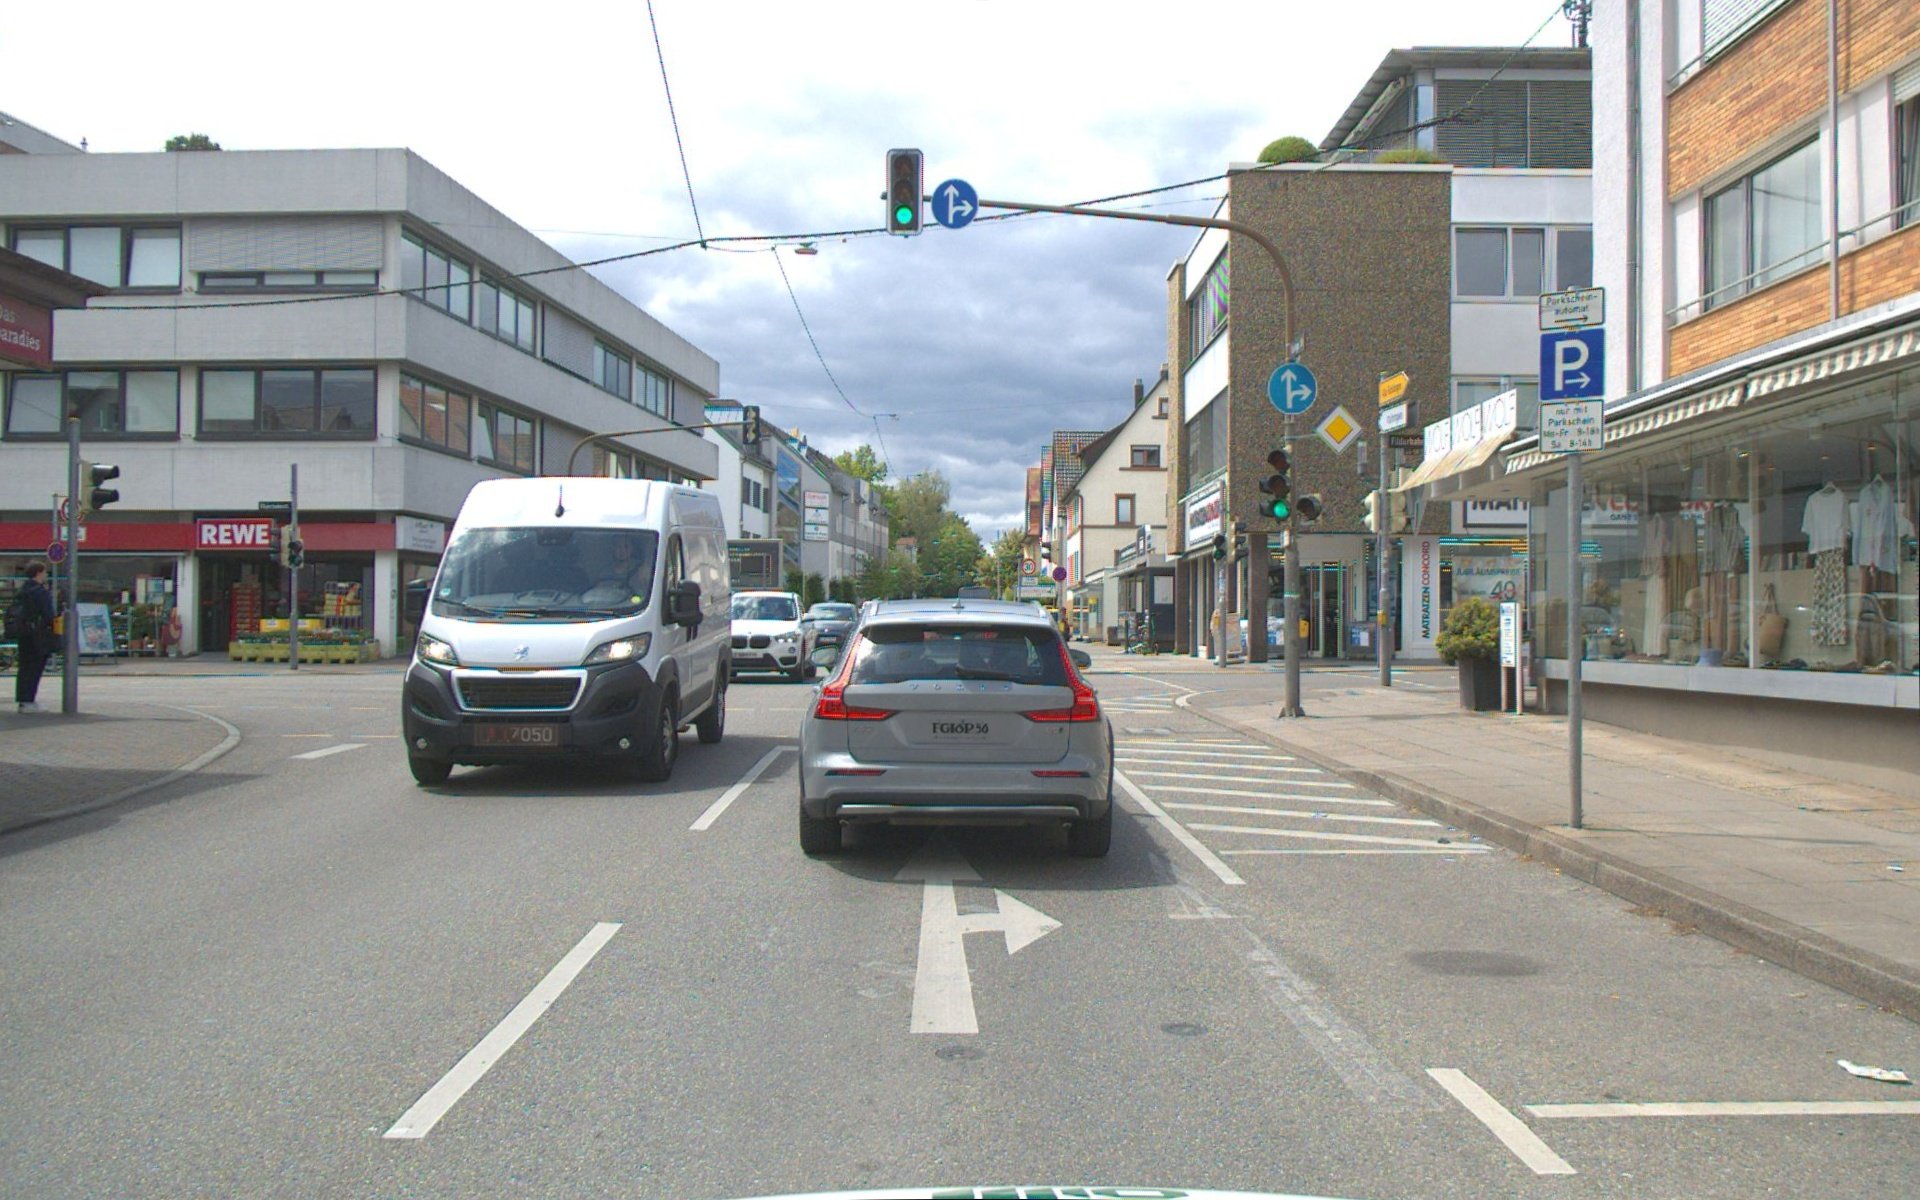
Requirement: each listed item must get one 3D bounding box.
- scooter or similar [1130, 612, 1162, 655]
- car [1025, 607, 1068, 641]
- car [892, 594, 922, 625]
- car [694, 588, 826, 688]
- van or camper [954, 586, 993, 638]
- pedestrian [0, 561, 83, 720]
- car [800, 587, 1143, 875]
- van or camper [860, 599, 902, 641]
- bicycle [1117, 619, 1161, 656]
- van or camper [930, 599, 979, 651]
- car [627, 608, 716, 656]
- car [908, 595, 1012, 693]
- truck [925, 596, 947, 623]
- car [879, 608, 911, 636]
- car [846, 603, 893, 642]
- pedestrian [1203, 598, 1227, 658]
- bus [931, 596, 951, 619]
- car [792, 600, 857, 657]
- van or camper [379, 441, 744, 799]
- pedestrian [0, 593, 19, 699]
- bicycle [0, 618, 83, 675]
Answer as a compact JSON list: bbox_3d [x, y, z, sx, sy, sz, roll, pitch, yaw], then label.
[{"bbox_3d":[5.740,1.040,51.018,0.336,1.275,1.235,-2,-1,-26],"label":"scooter or similar"},{"bbox_3d":[4.086,1.177,78.818,1.676,1.490,3.998,1,-2,-2],"label":"car"},{"bbox_3d":[-3.398,0.646,106.957,1.800,1.951,4.155,1,-1,-1],"label":"car"},{"bbox_3d":[-3.589,0.670,30.424,1.743,1.668,4.221,-1,0,2],"label":"car"},{"bbox_3d":[0.755,0.651,90.642,2.079,2.733,4.781,0,0,1],"label":"van or camper"},{"bbox_3d":[-10.878,0.479,19.539,0.613,1.828,0.720,1,-2,-3],"label":"pedestrian"},{"bbox_3d":[0.041,0.688,10.718,1.798,1.512,3.999,0,0,-1],"label":"car"},{"bbox_3d":[-3.810,0.948,80.060,1.826,1.931,4.692,0,0,0],"label":"van or camper"},{"bbox_3d":[5.813,1.212,53.868,0.546,1.164,2.288,0,-1,-18],"label":"bicycle"},{"bbox_3d":[-0.222,0.979,63.213,1.782,1.867,3.998,0,-3,-1],"label":"van or camper"},{"bbox_3d":[-9.579,1.045,55.257,1.864,1.469,4.445,1,0,4],"label":"car"},{"bbox_3d":[-0.012,0.725,27.866,1.617,1.508,3.606,1,-1,-1],"label":"car"},{"bbox_3d":[-2.692,1.081,185.649,2.229,2.937,7.079,0,0,1],"label":"truck"},{"bbox_3d":[-3.689,1.239,94.662,1.634,1.581,4.215,0,-1,1],"label":"car"},{"bbox_3d":[-3.663,0.927,67.422,1.648,1.523,3.967,-1,-1,0],"label":"car"},{"bbox_3d":[6.444,0.695,41.789,0.493,1.485,0.500,-3,-2,13],"label":"pedestrian"},{"bbox_3d":[-2.303,0.925,202.272,2.229,2.715,7.429,-1,-1,1],"label":"bus"},{"bbox_3d":[-4.047,0.858,49.921,1.753,1.617,4.098,-1,-1,-2],"label":"car"},{"bbox_3d":[-3.283,0.128,14.886,2.105,2.601,5.436,-1,0,-2],"label":"van or camper"},{"bbox_3d":[-13.971,0.655,23.679,0.513,1.511,0.761,1,-2,-2],"label":"pedestrian"},{"bbox_3d":[-20.006,1.009,35.581,1.848,1.162,0.774,-2,-1,-10],"label":"bicycle"}]
